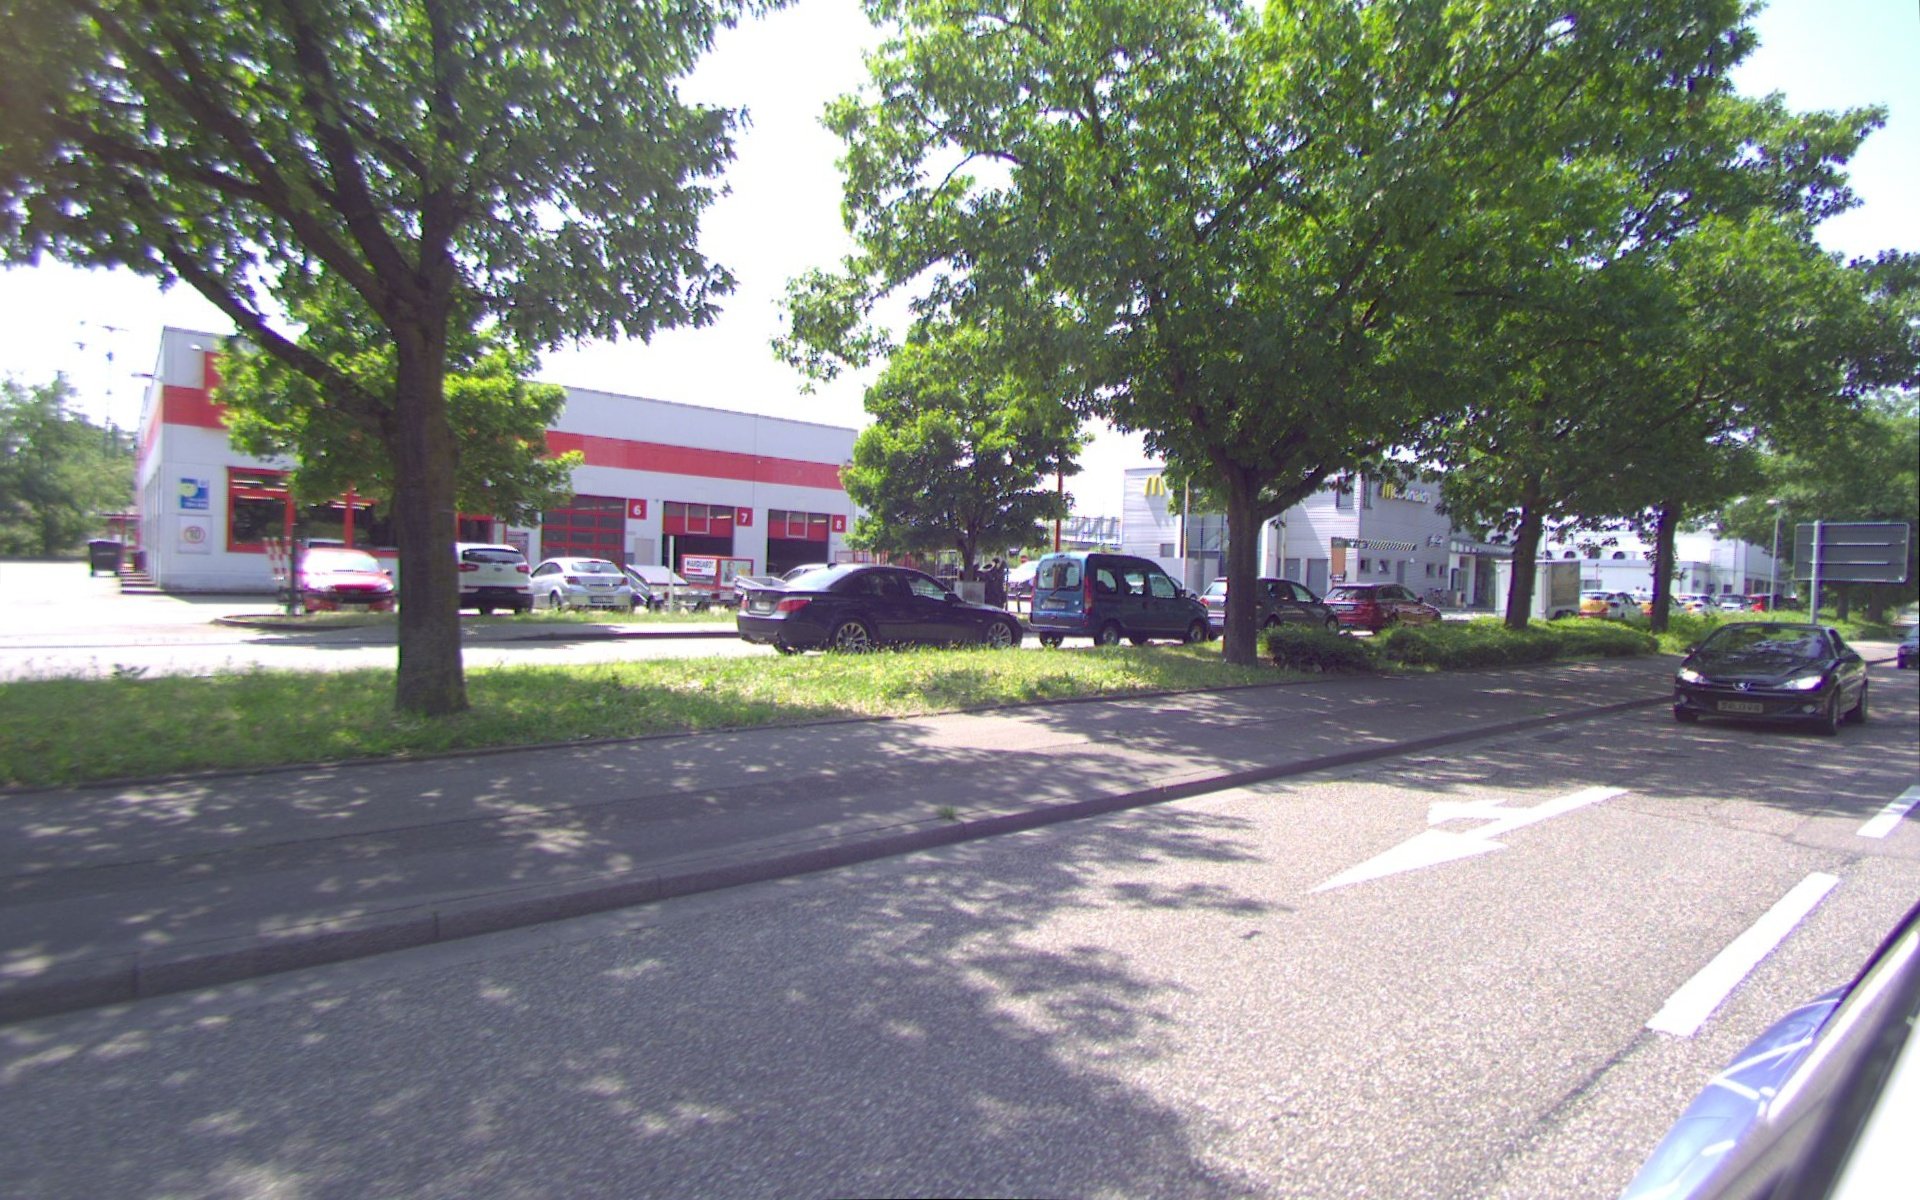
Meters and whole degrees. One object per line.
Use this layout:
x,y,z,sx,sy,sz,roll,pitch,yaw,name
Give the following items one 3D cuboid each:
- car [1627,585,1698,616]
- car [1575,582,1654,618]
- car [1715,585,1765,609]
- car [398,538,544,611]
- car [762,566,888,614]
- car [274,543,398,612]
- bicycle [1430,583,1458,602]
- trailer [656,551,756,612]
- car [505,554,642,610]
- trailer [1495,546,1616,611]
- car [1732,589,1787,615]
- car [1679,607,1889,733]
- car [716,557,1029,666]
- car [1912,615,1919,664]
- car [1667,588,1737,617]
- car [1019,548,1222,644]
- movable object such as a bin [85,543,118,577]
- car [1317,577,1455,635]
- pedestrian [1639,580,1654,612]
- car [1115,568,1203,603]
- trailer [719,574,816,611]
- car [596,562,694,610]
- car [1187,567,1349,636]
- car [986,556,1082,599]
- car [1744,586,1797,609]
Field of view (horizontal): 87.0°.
29.130,0.002,41.933,3.673,1.172,1.596,0,2,-41,car
24.510,-0.036,37.845,3.569,1.268,1.621,0,2,-42,car
39.149,-0.177,50.784,2.807,1.136,1.509,0,2,-43,car
-10.993,-0.607,22.602,1.909,1.460,3.994,1,2,-42,car
-3.856,-0.309,28.483,1.727,1.197,3.811,1,2,-40,car
-13.220,-0.412,21.355,1.786,1.324,3.572,0,-1,-39,car
27.321,-0.427,57.159,2.064,0.992,0.590,1,2,-40,bicycle
-7.355,-0.561,29.115,1.387,1.601,3.615,1,2,-38,trailer
-9.321,-0.453,24.244,1.875,1.236,3.995,0,2,-40,car
20.437,-0.695,34.625,5.383,2.081,1.705,1,1,-39,trailer
42.138,0.073,53.311,3.699,1.268,1.622,0,2,-42,car
11.105,0.833,13.572,3.439,1.373,1.640,-1,2,-42,car
-1.234,0.114,15.466,4.568,1.442,1.705,0,2,-38,car
28.751,1.147,29.195,1.706,1.340,3.896,2,1,41,car
34.720,0.103,47.331,3.795,1.268,1.623,0,2,-38,car
3.108,-0.113,19.253,3.835,1.658,1.705,0,2,-39,car
-32.311,-1.511,38.105,0.912,1.188,1.813,1,2,-41,movable object such as a bin
11.382,0.151,26.939,4.249,1.397,1.703,1,1,-42,car
42.462,-0.250,62.574,0.402,1.945,0.582,1,2,-41,pedestrian
8.262,-0.595,41.877,3.710,1.356,1.587,0,2,-41,car
-5.100,-0.210,26.616,1.356,0.922,2.718,0,1,-40,trailer
-8.538,-0.347,27.302,1.499,1.223,3.133,0,-1,-39,car
6.941,0.034,22.668,3.838,1.397,1.703,1,1,-42,car
3.478,-1.017,46.872,4.550,1.827,1.713,1,2,-41,car
45.692,-0.160,57.035,4.125,1.268,1.622,-1,0,-41,car
